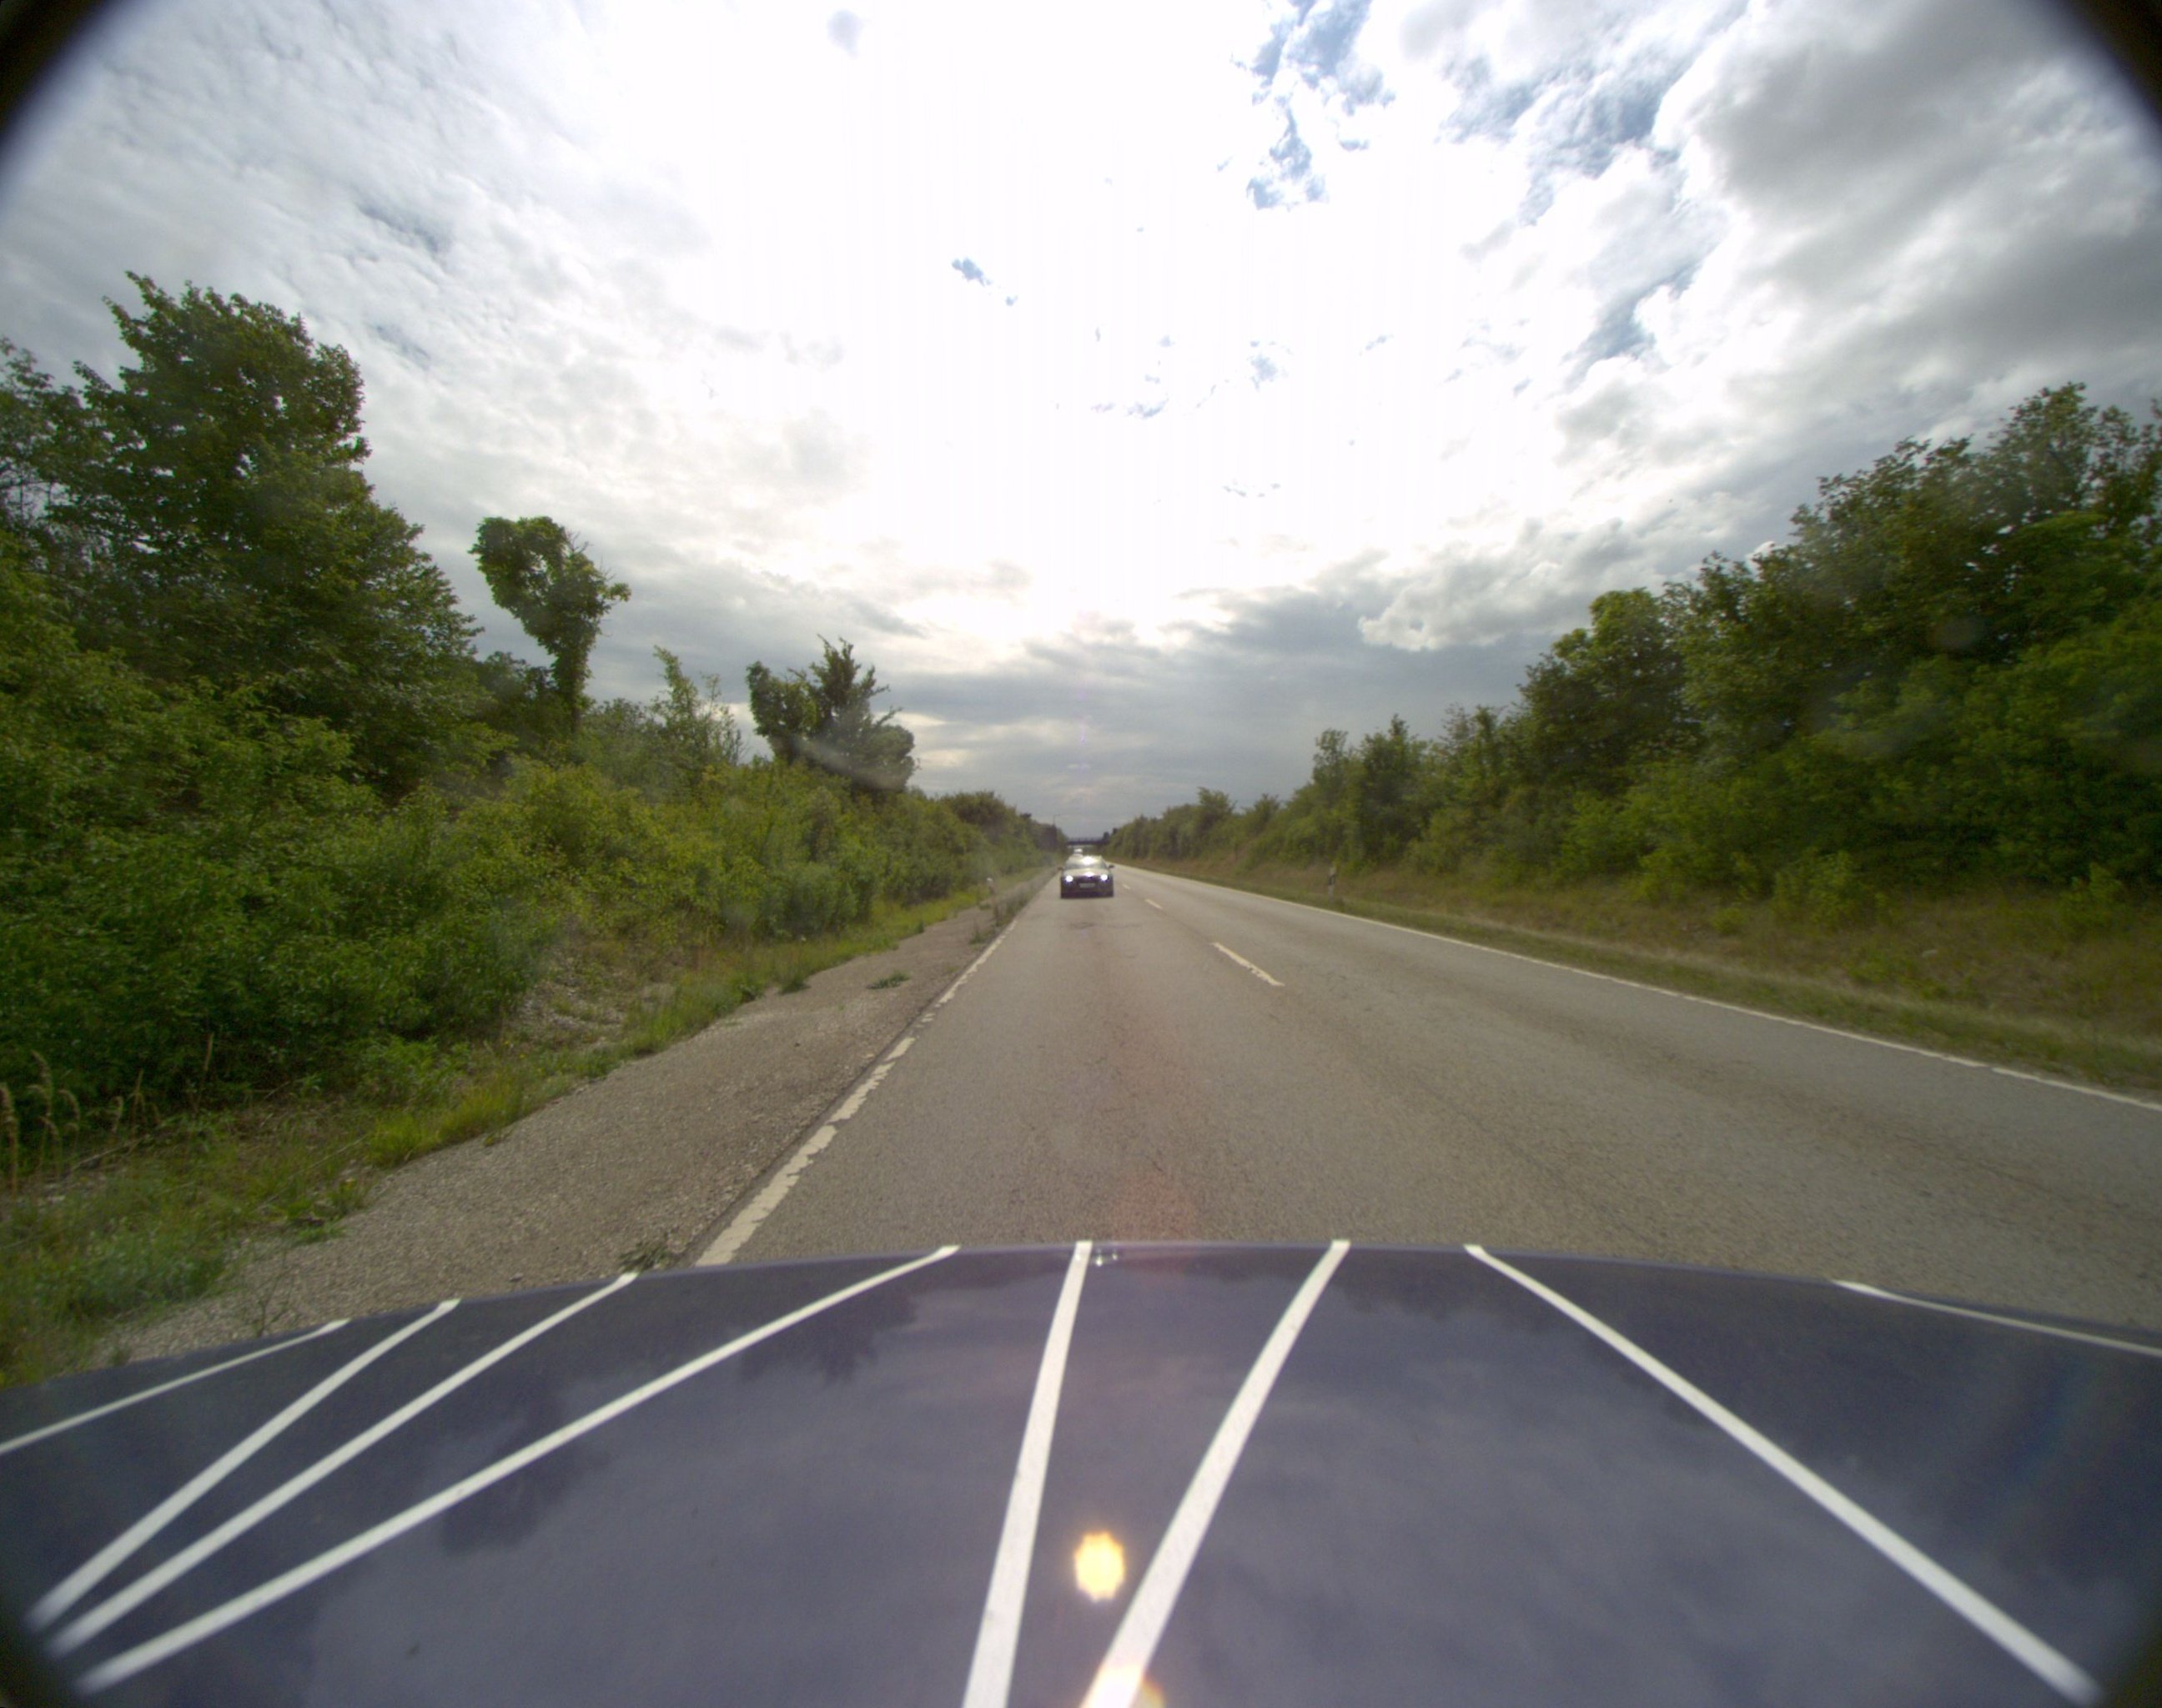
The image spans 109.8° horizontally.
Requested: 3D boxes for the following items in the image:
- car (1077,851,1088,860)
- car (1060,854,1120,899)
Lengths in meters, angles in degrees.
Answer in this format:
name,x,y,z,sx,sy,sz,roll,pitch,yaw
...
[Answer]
name,x,y,z,sx,sy,sz,roll,pitch,yaw
car,0.214,0.258,130.261,1.870,1.597,3.999,-1,0,-1
car,0.289,0.754,28.173,1.999,1.436,4.640,-2,0,0
